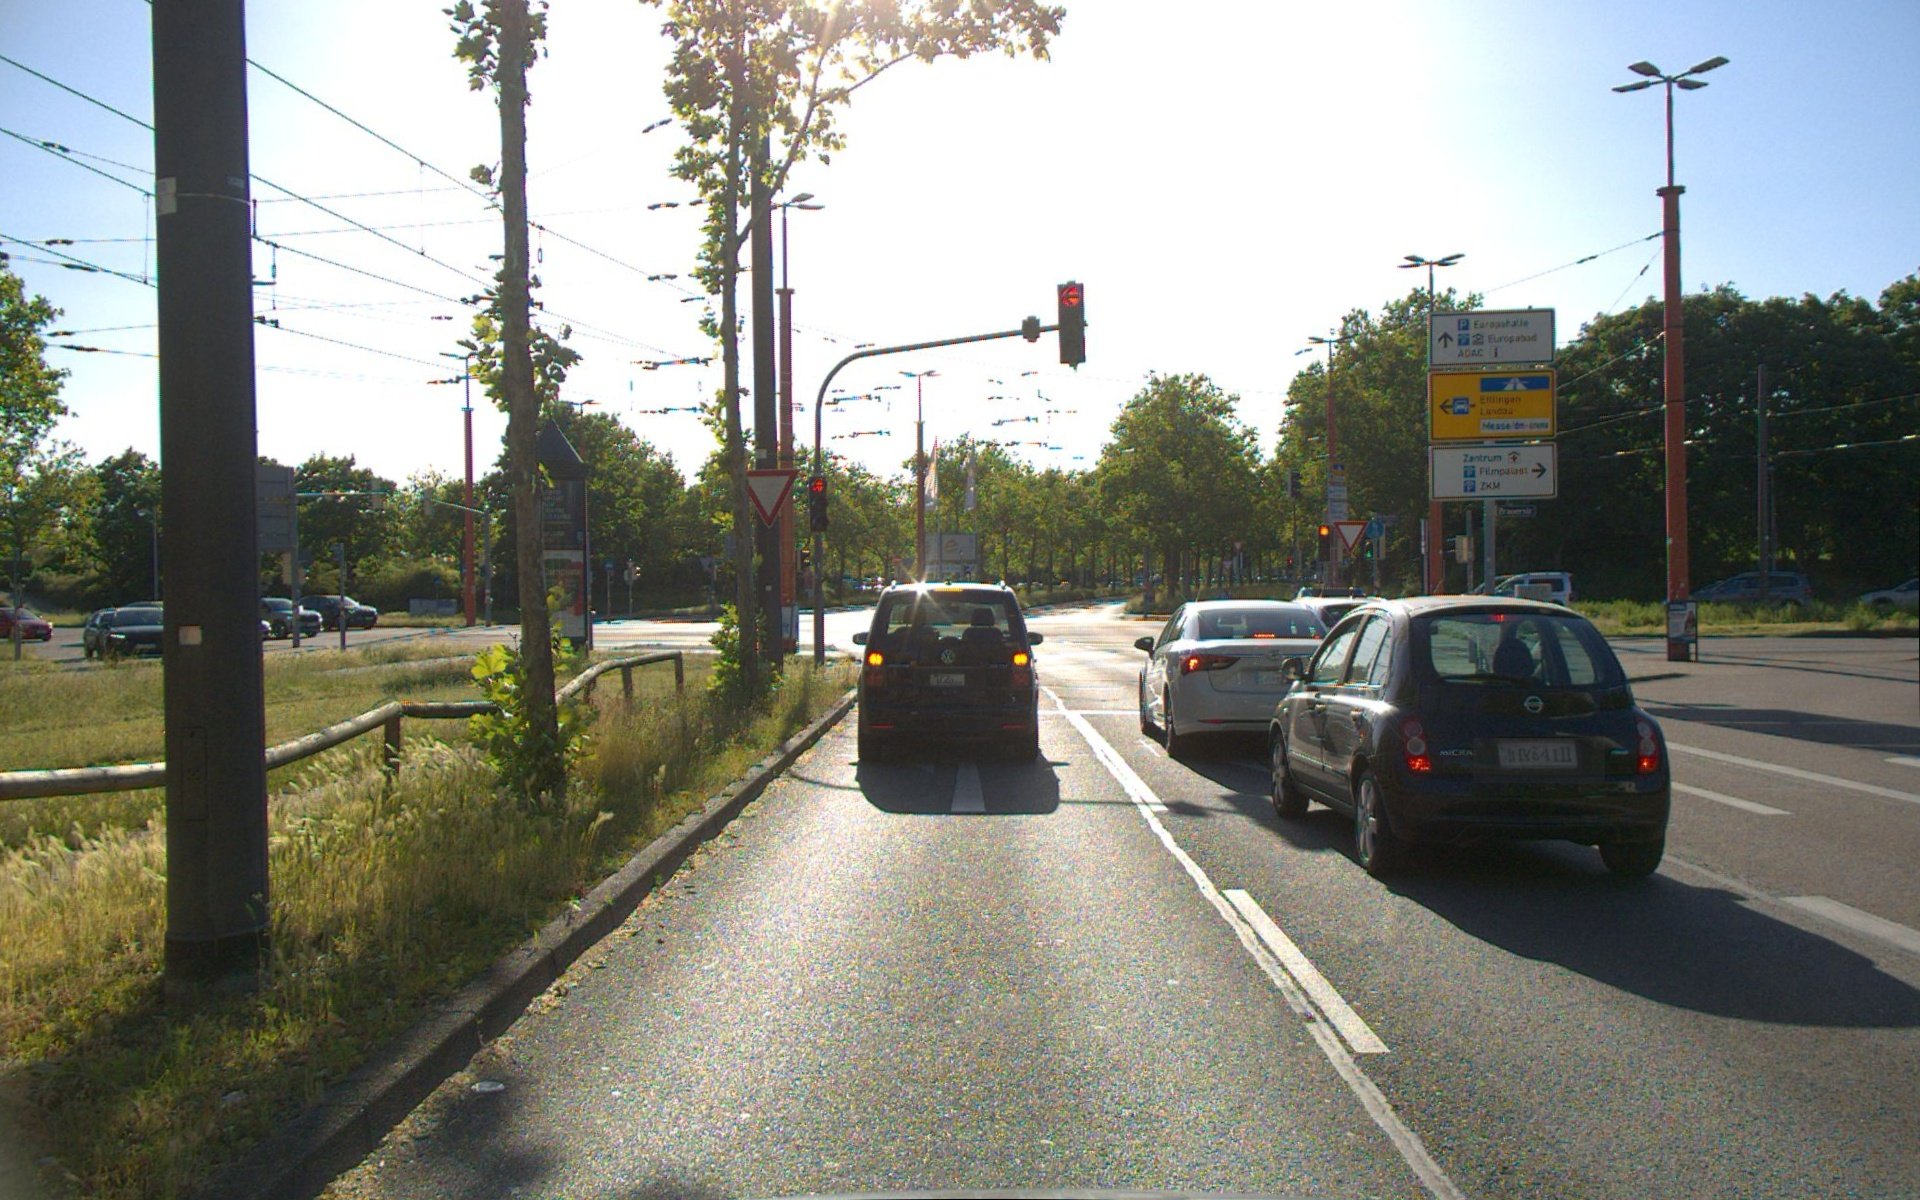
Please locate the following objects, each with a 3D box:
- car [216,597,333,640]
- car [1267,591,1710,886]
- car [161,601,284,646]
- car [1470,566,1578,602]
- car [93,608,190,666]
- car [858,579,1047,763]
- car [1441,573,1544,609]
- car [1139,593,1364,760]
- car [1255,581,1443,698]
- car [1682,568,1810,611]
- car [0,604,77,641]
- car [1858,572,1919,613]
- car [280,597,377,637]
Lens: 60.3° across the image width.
[{"bbox_3d":[-29.369,0.787,70.890,4.391,1.638,1.901,-2,2,19],"label":"car"},{"bbox_3d":[3.071,0.710,10.341,1.605,1.520,3.503,0,0,-1],"label":"car"},{"bbox_3d":[-30.060,0.966,67.413,4.391,1.638,1.901,-2,2,19],"label":"car"},{"bbox_3d":[22.465,-0.624,65.930,3.909,1.361,1.727,0,0,26],"label":"car"},{"bbox_3d":[-23.602,1.024,47.618,1.878,1.570,4.444,0,0,-35],"label":"car"},{"bbox_3d":[-0.091,0.638,16.359,1.675,1.631,3.349,0,0,-1],"label":"car"},{"bbox_3d":[22.363,-0.373,69.441,3.908,1.502,1.788,0,0,26],"label":"car"},{"bbox_3d":[2.847,0.692,16.951,1.644,1.501,4.131,0,0,1],"label":"car"},{"bbox_3d":[6.010,0.550,26.072,1.854,1.661,4.501,-1,1,-1],"label":"car"},{"bbox_3d":[29.471,-0.380,62.117,4.265,1.586,1.871,0,0,25],"label":"car"},{"bbox_3d":[-41.619,1.003,73.644,3.950,1.461,1.816,-1,2,19],"label":"car"},{"bbox_3d":[36.038,-0.292,62.225,3.909,1.521,1.859,0,0,27],"label":"car"},{"bbox_3d":[-29.634,0.792,77.618,3.903,1.649,1.901,-2,2,19],"label":"car"}]
